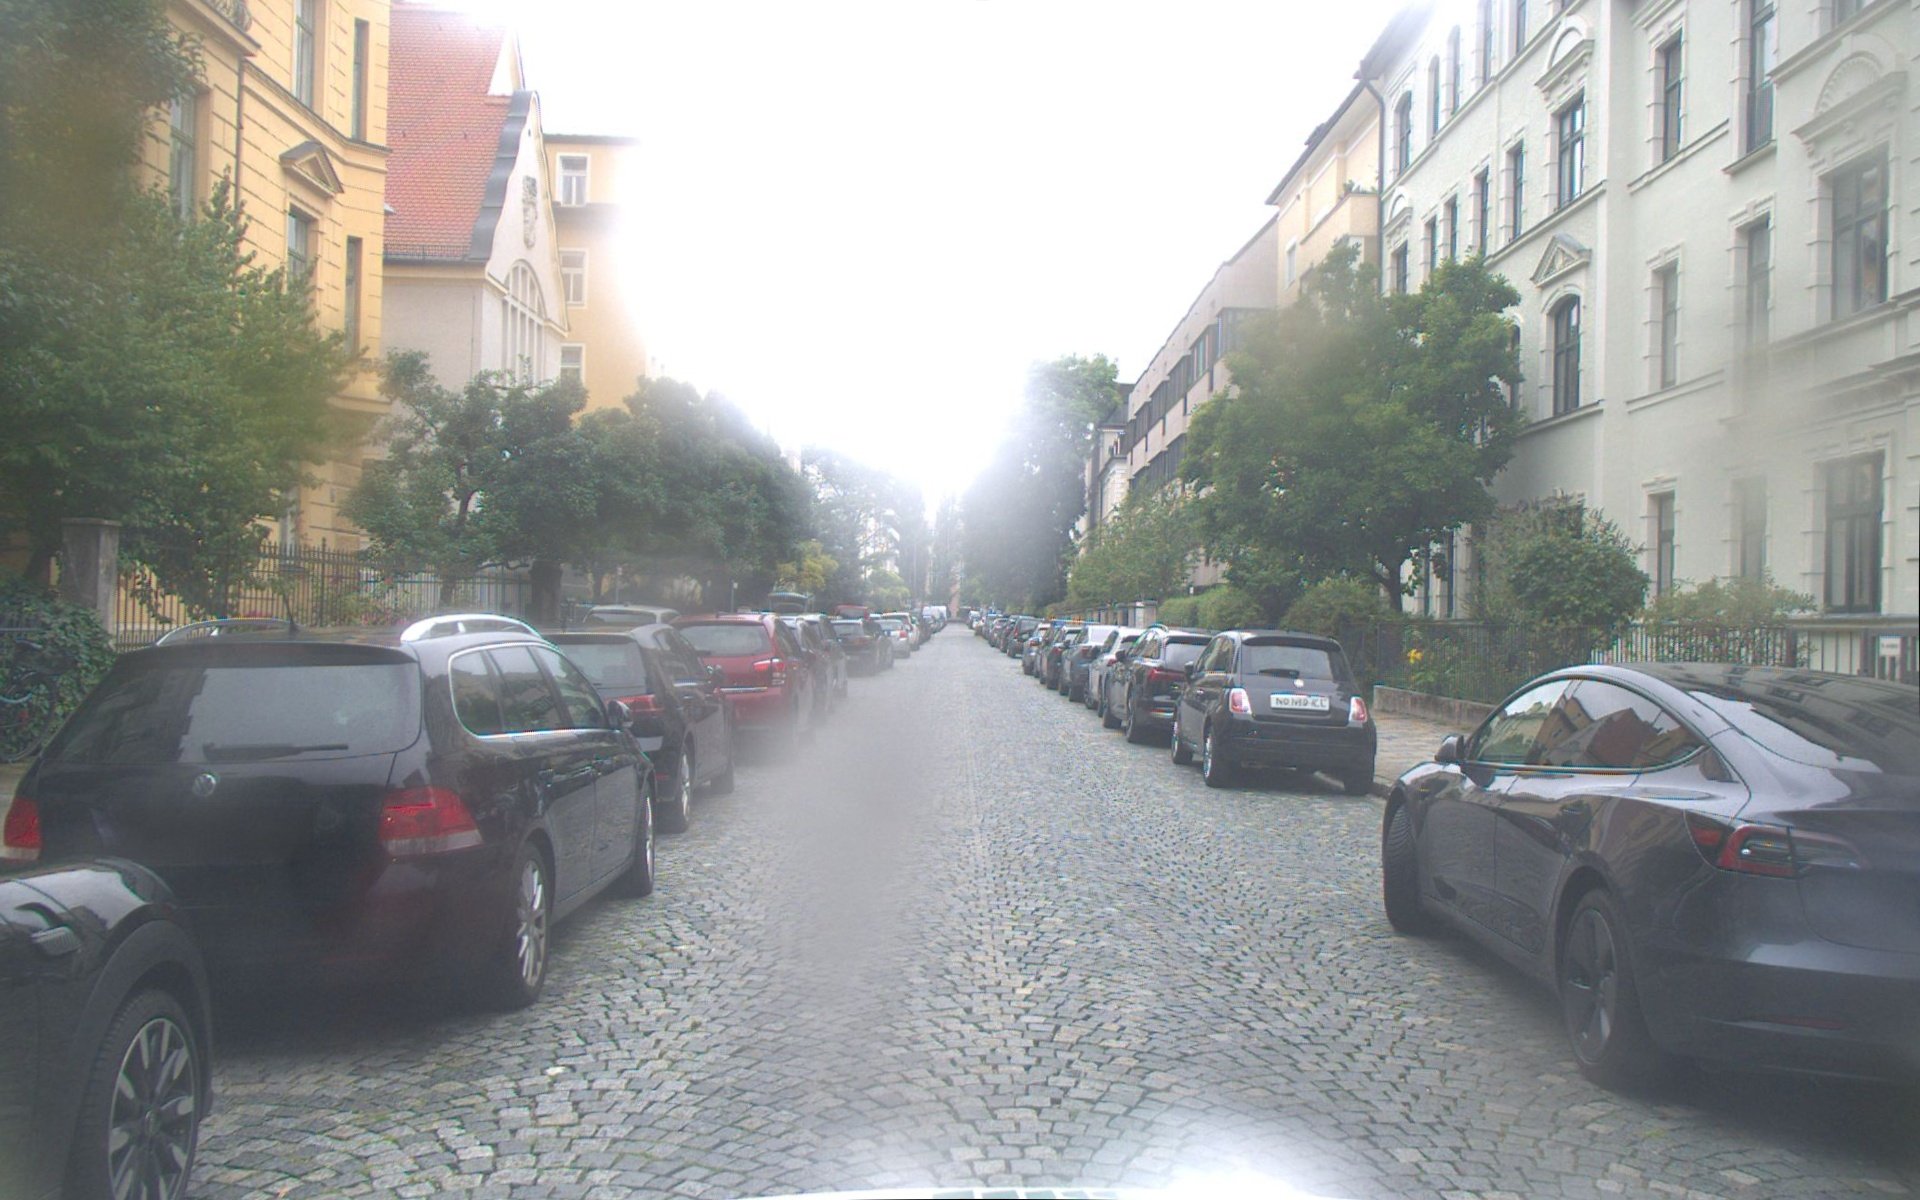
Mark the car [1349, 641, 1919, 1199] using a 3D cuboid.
[{"bbox_3d":[3.127,0.981,6.871,1.882,1.459,4.801,3,-1,1],"label":"car"}]

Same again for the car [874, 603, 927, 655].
[{"bbox_3d":[-2.275,1.128,63.810,1.883,1.871,3.738,-3,-1,-1],"label":"car"}]

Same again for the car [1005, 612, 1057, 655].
[{"bbox_3d":[2.968,1.414,69.929,1.883,1.664,3.738,-3,-1,-1],"label":"car"}]

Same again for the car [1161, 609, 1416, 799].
[{"bbox_3d":[3.292,0.996,17.366,1.882,1.664,4.046,3,-1,1],"label":"car"}]

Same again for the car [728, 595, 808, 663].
[{"bbox_3d":[-5.008,0.761,43.506,1.742,1.664,3.737,1,-1,-2],"label":"car"}]

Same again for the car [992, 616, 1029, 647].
[{"bbox_3d":[2.843,1.809,94.397,1.883,1.664,3.738,-3,-1,-1],"label":"car"}]

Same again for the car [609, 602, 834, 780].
[{"bbox_3d":[-2.497,0.932,18.222,1.883,1.664,3.805,-3,-1,-1],"label":"car"}]

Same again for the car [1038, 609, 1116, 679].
[{"bbox_3d":[2.978,1.127,42.668,1.627,1.664,3.447,-3,-1,-2],"label":"car"}]

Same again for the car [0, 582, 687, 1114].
[{"bbox_3d":[-2.419,0.805,7.261,1.691,1.567,4.335,-3,-1,0],"label":"car"}]

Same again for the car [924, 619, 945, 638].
[{"bbox_3d":[-2.356,2.639,153.101,1.883,1.664,3.738,-3,-1,-1],"label":"car"}]

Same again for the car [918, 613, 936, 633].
[{"bbox_3d":[-3.725,2.603,185.894,1.954,2.049,3.997,1,-2,-3],"label":"car"}]

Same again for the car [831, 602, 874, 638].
[{"bbox_3d":[-5.327,1.008,82.457,1.883,1.664,3.738,-3,-1,-1],"label":"car"}]

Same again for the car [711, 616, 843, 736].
[{"bbox_3d":[-2.467,1.004,22.721,1.402,1.485,2.651,-3,-1,1],"label":"car"}]

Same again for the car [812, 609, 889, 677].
[{"bbox_3d":[-2.804,1.109,43.016,1.883,1.664,3.736,1,-1,-3],"label":"car"}]

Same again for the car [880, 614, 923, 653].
[{"bbox_3d":[-2.682,1.541,76.774,1.883,1.664,3.738,-3,-1,-1],"label":"car"}]

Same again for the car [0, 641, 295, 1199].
[{"bbox_3d":[-2.584,0.892,2.565,1.669,1.543,3.725,-1,0,-2],"label":"car"}]

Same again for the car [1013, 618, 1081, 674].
[{"bbox_3d":[2.476,1.310,47.701,1.627,1.491,3.447,-3,-1,-2],"label":"car"}]

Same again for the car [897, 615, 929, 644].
[{"bbox_3d":[-2.875,1.839,101.763,1.883,1.664,3.738,-3,-1,-1],"label":"car"}]

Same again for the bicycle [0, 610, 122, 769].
[{"bbox_3d":[-7.194,0.663,12.581,0.409,1.163,1.766,2,-1,12],"label":"bicycle"}]

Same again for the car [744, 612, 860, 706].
[{"bbox_3d":[-2.726,1.012,29.214,1.626,1.561,3.485,0,-1,1],"label":"car"}]

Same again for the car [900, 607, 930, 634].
[{"bbox_3d":[-2.916,1.366,108.014,1.883,1.664,3.738,-3,-1,-1],"label":"car"}]

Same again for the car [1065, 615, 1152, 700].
[{"bbox_3d":[2.887,1.104,32.590,1.564,1.529,3.263,-3,-1,4],"label":"car"}]

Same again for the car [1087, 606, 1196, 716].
[{"bbox_3d":[3.028,0.980,27.756,1.625,1.664,3.450,-3,-1,6],"label":"car"}]

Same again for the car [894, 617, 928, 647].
[{"bbox_3d":[-2.828,1.856,96.605,1.883,1.664,3.738,-3,-1,-1],"label":"car"}]

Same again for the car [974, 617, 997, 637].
[{"bbox_3d":[2.249,2.370,145.532,1.883,1.664,3.738,-3,-1,-1],"label":"car"}]

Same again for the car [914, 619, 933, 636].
[{"bbox_3d":[-3.721,2.875,171.303,1.883,1.664,3.738,-3,-1,-1],"label":"car"}]

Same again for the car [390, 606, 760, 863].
[{"bbox_3d":[-2.739,0.905,12.728,1.883,1.573,3.999,-3,-1,-1],"label":"car"}]

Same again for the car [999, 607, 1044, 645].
[{"bbox_3d":[2.874,1.232,77.878,1.883,1.664,3.738,-3,-1,-1],"label":"car"}]

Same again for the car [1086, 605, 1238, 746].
[{"bbox_3d":[2.540,0.924,21.442,1.626,1.664,3.539,0,-1,1],"label":"car"}]

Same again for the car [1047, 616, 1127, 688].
[{"bbox_3d":[2.859,1.161,37.647,1.626,1.481,3.449,-3,-1,2],"label":"car"}]
